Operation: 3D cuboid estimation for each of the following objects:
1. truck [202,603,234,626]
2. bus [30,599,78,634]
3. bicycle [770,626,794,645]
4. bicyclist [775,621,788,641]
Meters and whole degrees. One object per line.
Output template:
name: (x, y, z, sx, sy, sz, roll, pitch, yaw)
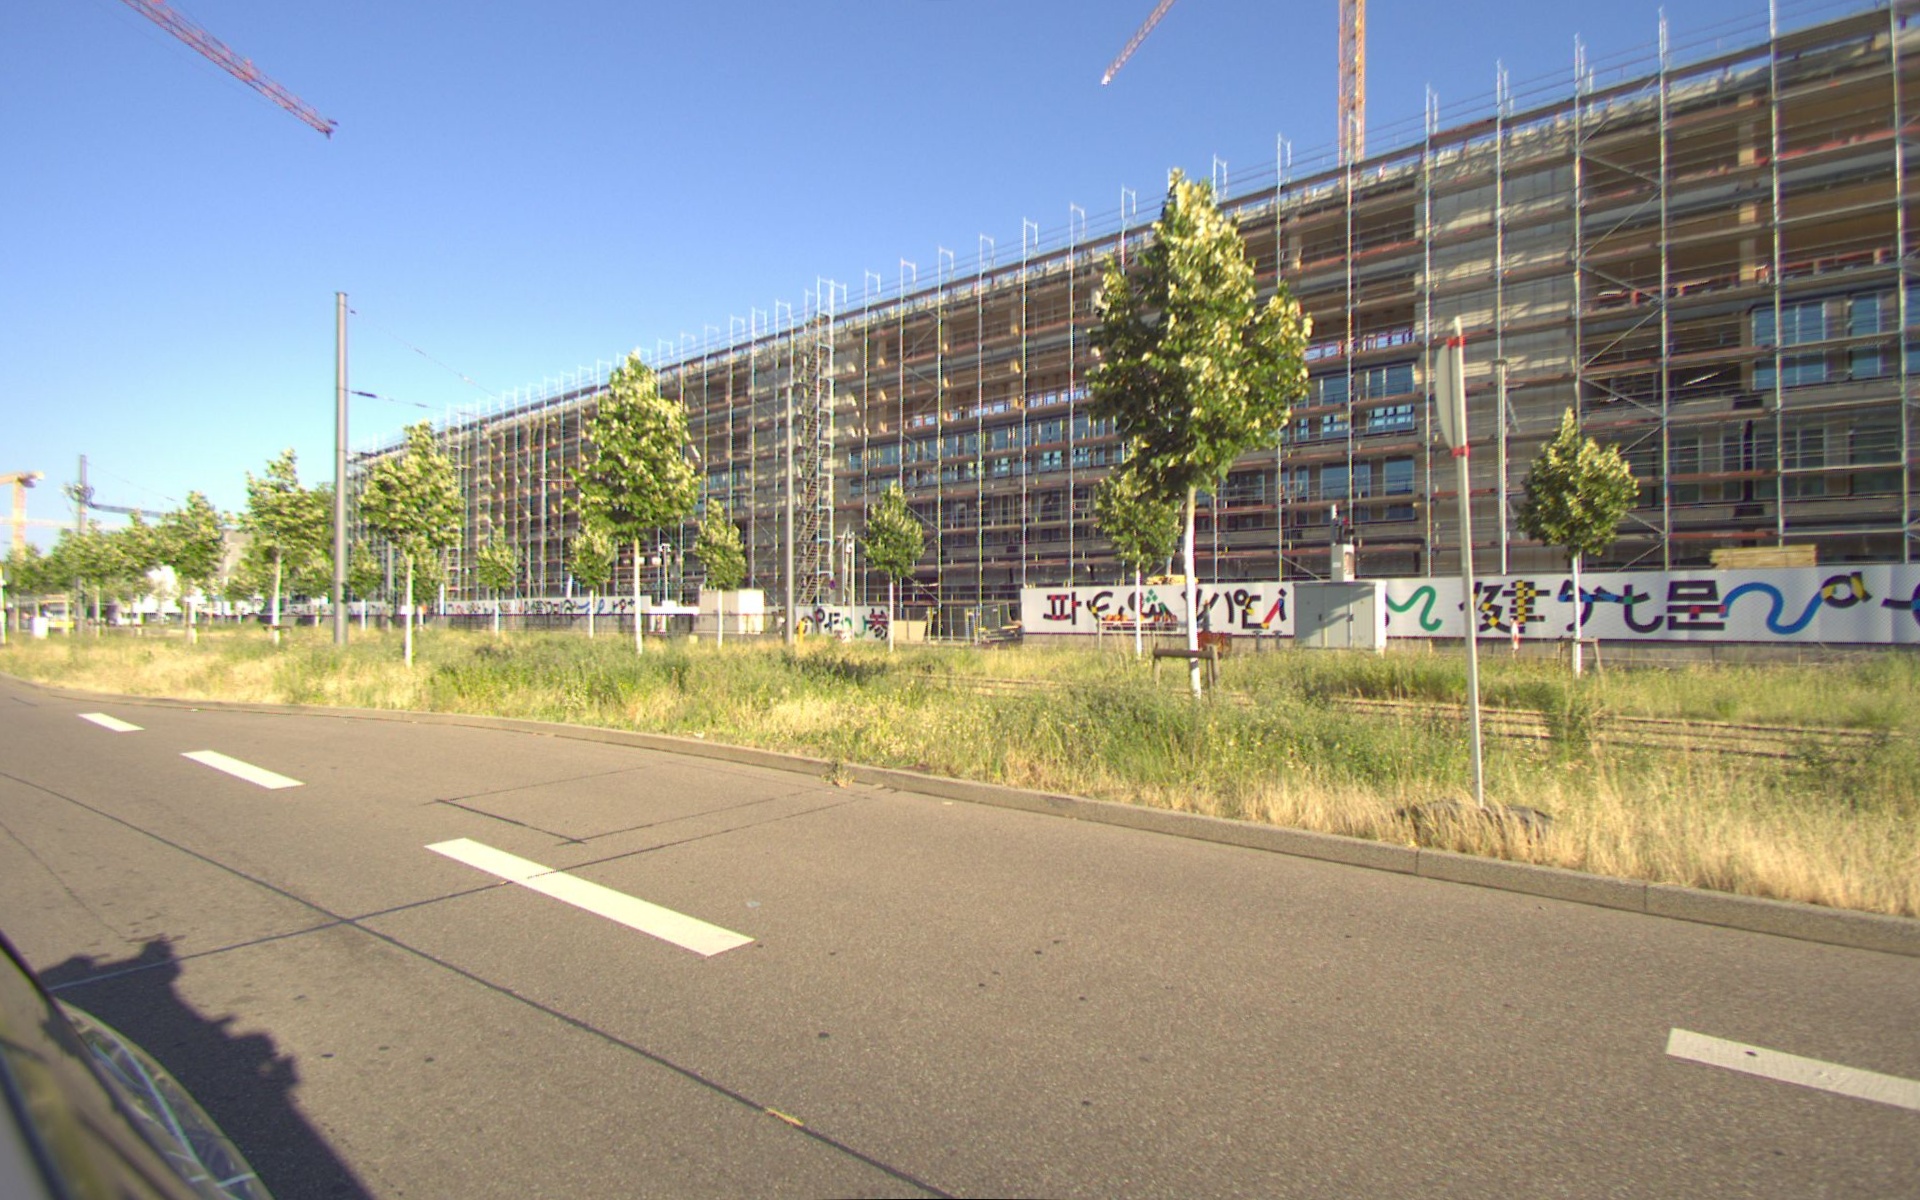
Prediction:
truck: (-85.866, 1.735, 117.106, 4.740, 2.593, 2.115, -2, -2, 43)
bus: (-86.948, 1.625, 97.039, 8.656, 3.247, 2.687, -2, -2, 43)
bicycle: (-10.038, 1.982, 56.999, 1.563, 1.069, 0.473, -1, -2, 41)
bicyclist: (-10.056, 1.744, 57.013, 0.638, 1.162, 0.473, -1, -2, 41)
